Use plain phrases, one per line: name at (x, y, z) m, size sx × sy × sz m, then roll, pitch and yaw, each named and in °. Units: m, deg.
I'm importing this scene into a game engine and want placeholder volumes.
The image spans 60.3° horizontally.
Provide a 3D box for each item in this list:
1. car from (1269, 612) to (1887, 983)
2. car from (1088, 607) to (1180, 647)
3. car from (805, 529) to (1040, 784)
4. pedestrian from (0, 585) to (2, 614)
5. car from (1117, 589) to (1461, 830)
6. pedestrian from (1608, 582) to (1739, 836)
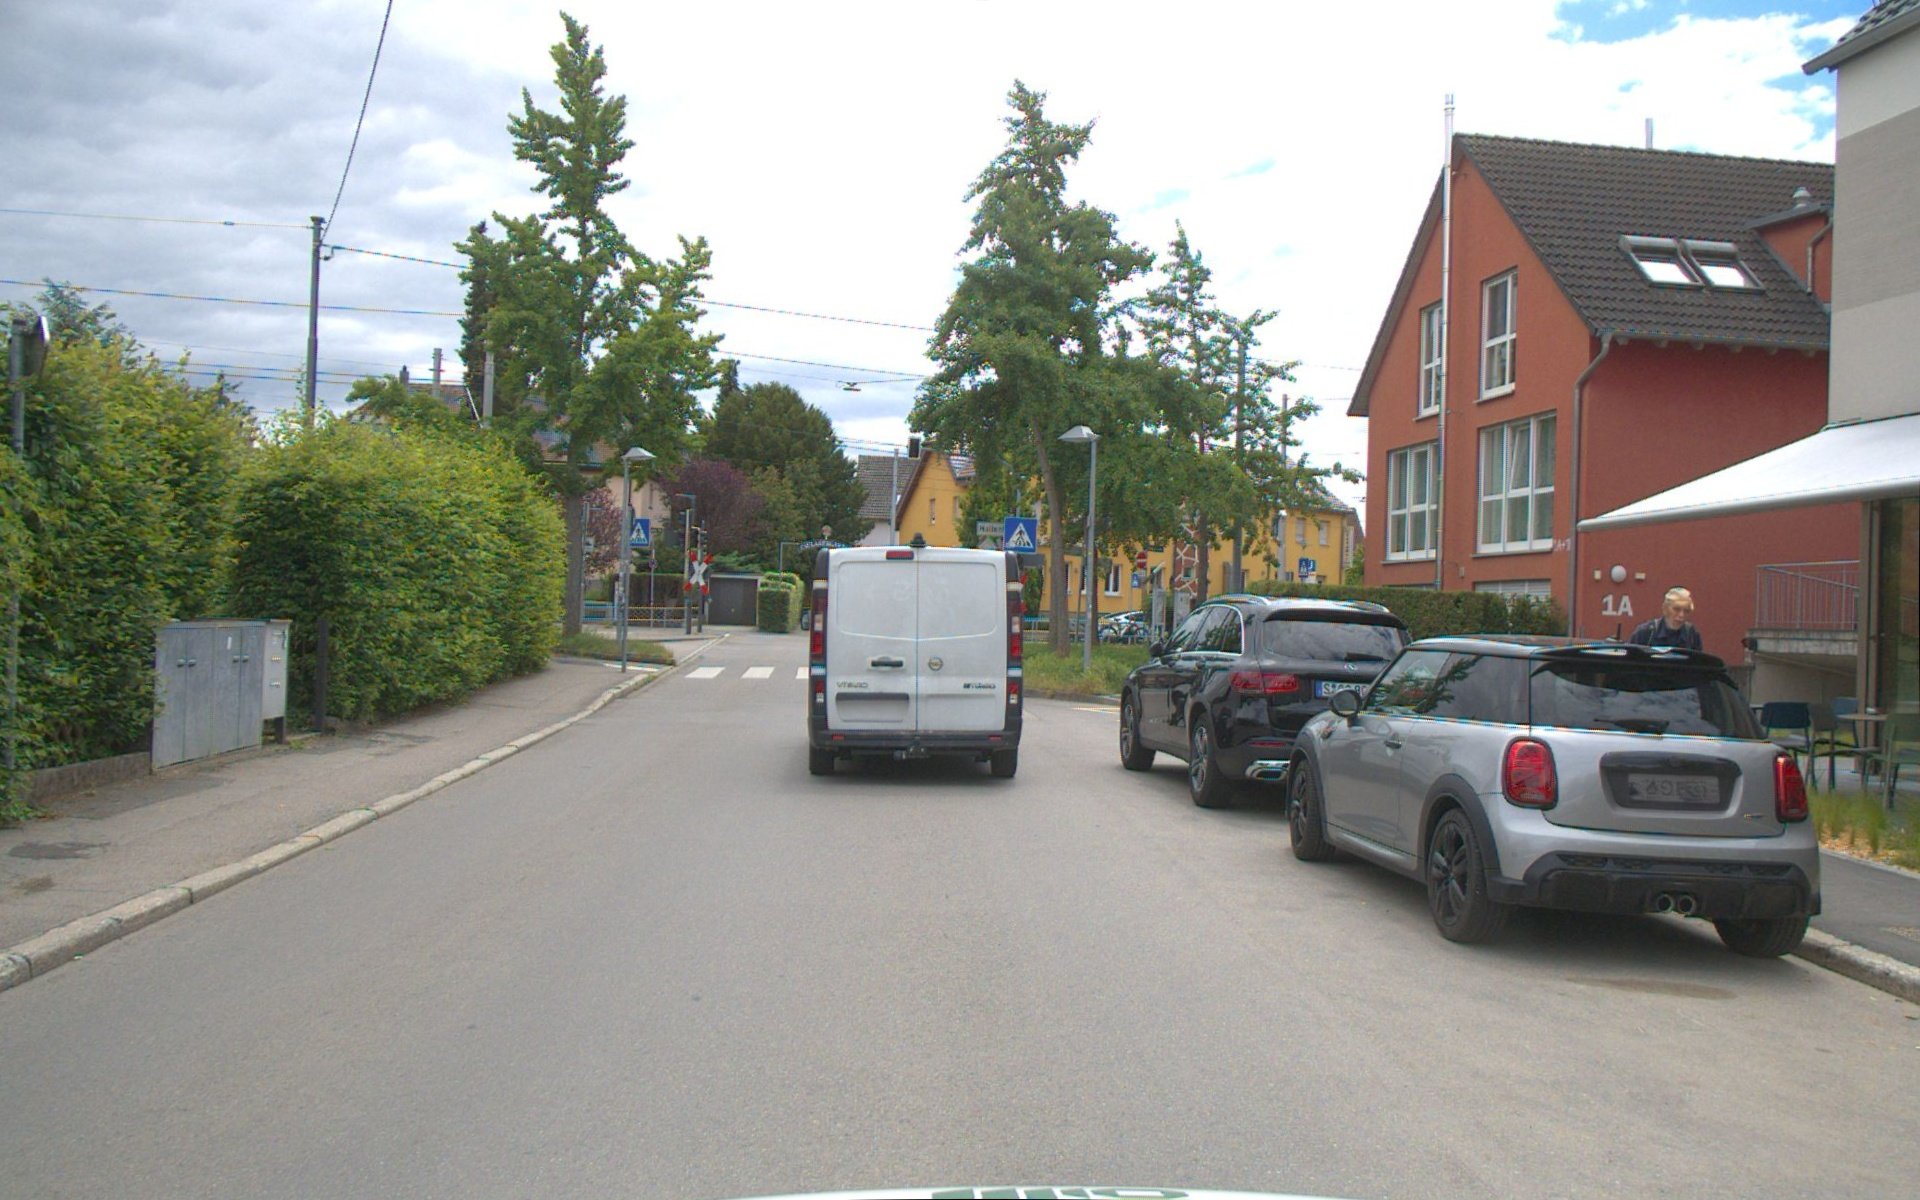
car at (3.055, 0.894, 9.035) m, size 1.708 × 1.520 × 3.651 m, roll 4°, pitch -1°, yaw -5°
car at (8.031, 1.260, 76.277) m, size 3.884 × 1.563 × 1.898 m, roll 4°, pitch -2°, yaw -34°
car at (-0.468, 0.448, 15.596) m, size 1.878 × 2.037 × 4.434 m, roll 1°, pitch 0°, yaw -5°
pedestrian at (-4.940, 0.656, 7.511) m, size 0.864 × 1.511 × 0.452 m, roll 4°, pitch -2°, yaw -22°
car at (2.585, 0.803, 14.049) m, size 1.669 × 1.642 × 4.254 m, roll 4°, pitch -1°, yaw -5°
pedestrian at (4.802, 0.721, 11.149) m, size 0.578 × 1.635 × 0.529 m, roll 3°, pitch -1°, yaw -1°
